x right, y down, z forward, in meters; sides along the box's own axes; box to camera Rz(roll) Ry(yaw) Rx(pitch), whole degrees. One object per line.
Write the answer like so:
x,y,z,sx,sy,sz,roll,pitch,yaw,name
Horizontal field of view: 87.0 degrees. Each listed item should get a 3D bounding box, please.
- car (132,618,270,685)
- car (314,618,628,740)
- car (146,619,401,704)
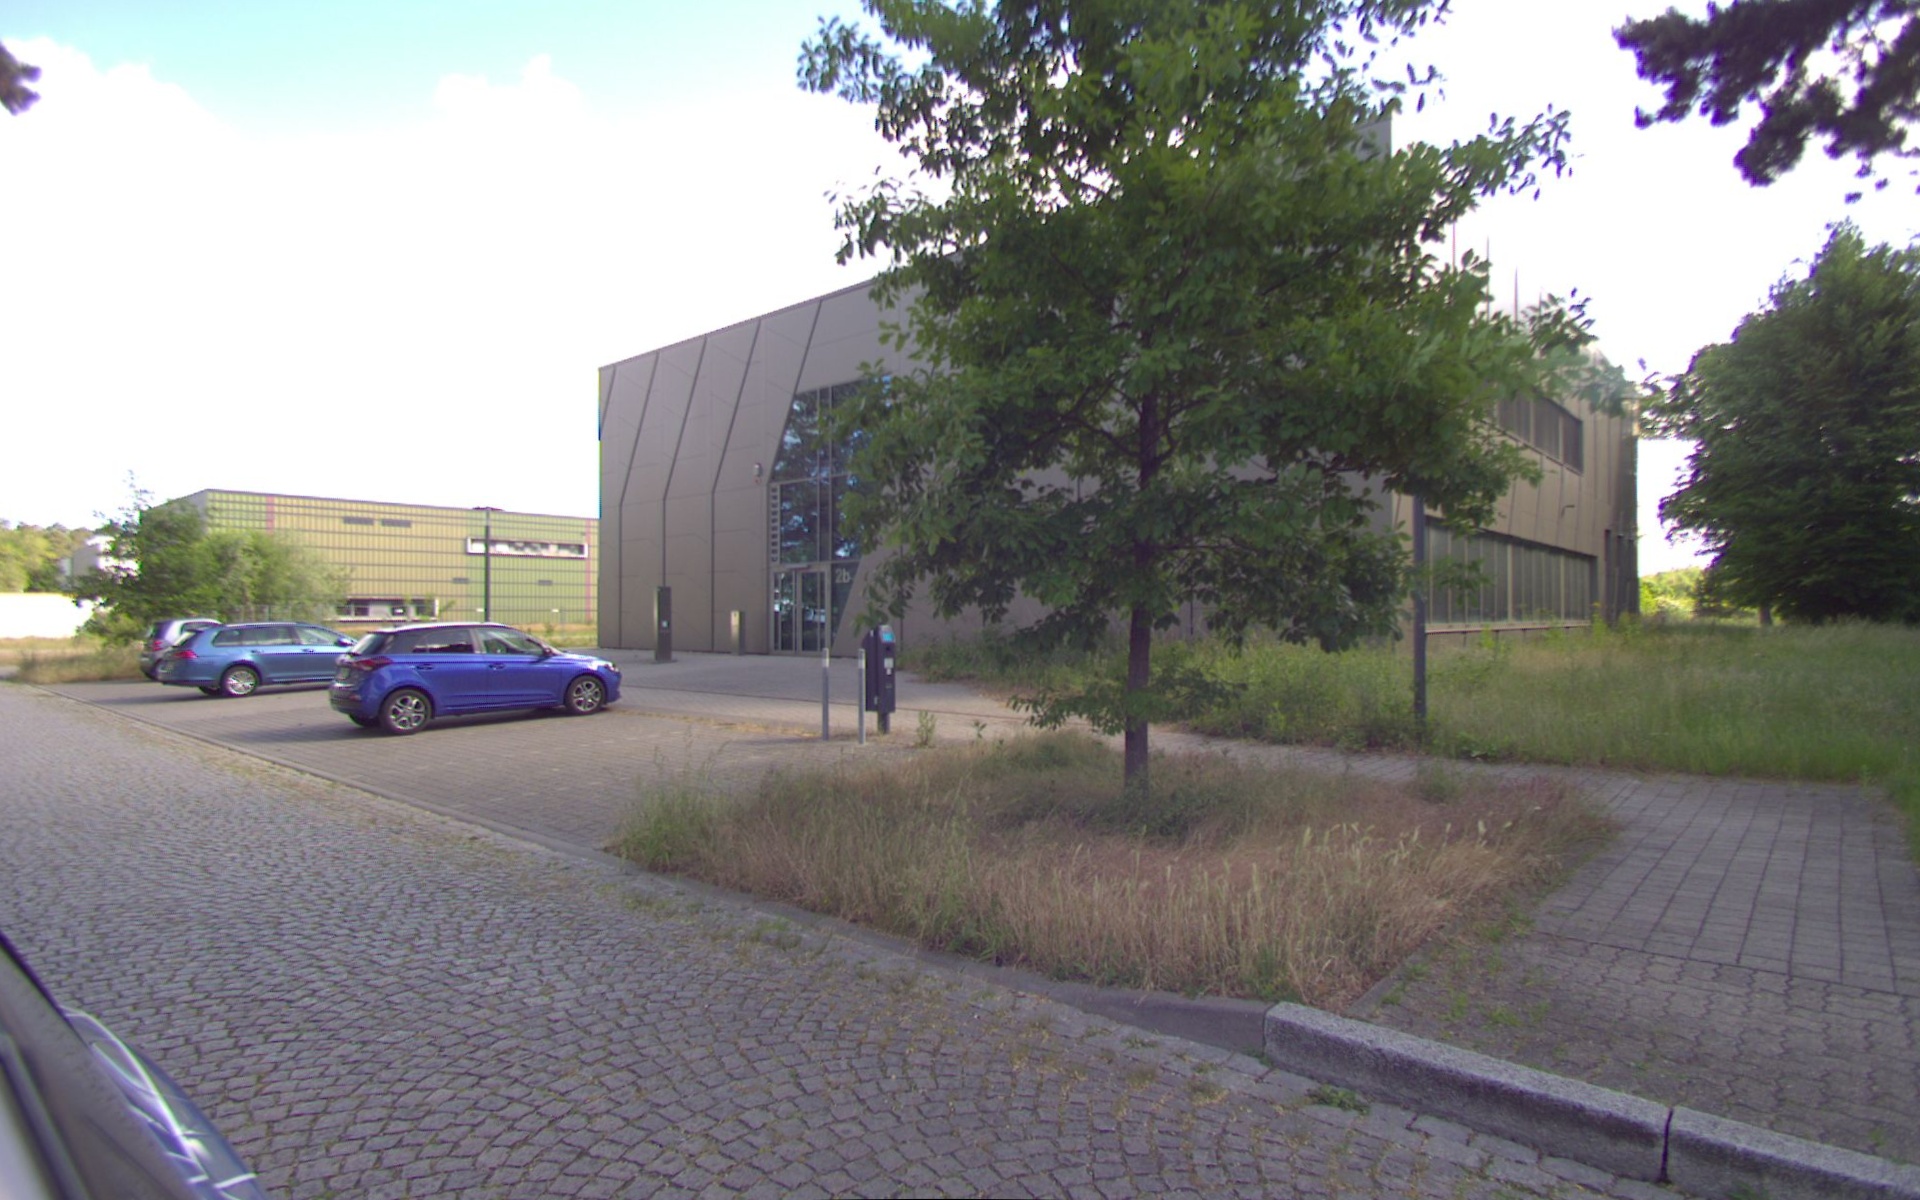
-19.745,1.288,26.375,1.480,1.580,2.619,-1,0,40,car
-7.198,1.061,15.145,1.735,1.479,3.866,-1,0,43,car
-14.339,1.211,21.335,1.733,1.485,4.128,-1,0,39,car
